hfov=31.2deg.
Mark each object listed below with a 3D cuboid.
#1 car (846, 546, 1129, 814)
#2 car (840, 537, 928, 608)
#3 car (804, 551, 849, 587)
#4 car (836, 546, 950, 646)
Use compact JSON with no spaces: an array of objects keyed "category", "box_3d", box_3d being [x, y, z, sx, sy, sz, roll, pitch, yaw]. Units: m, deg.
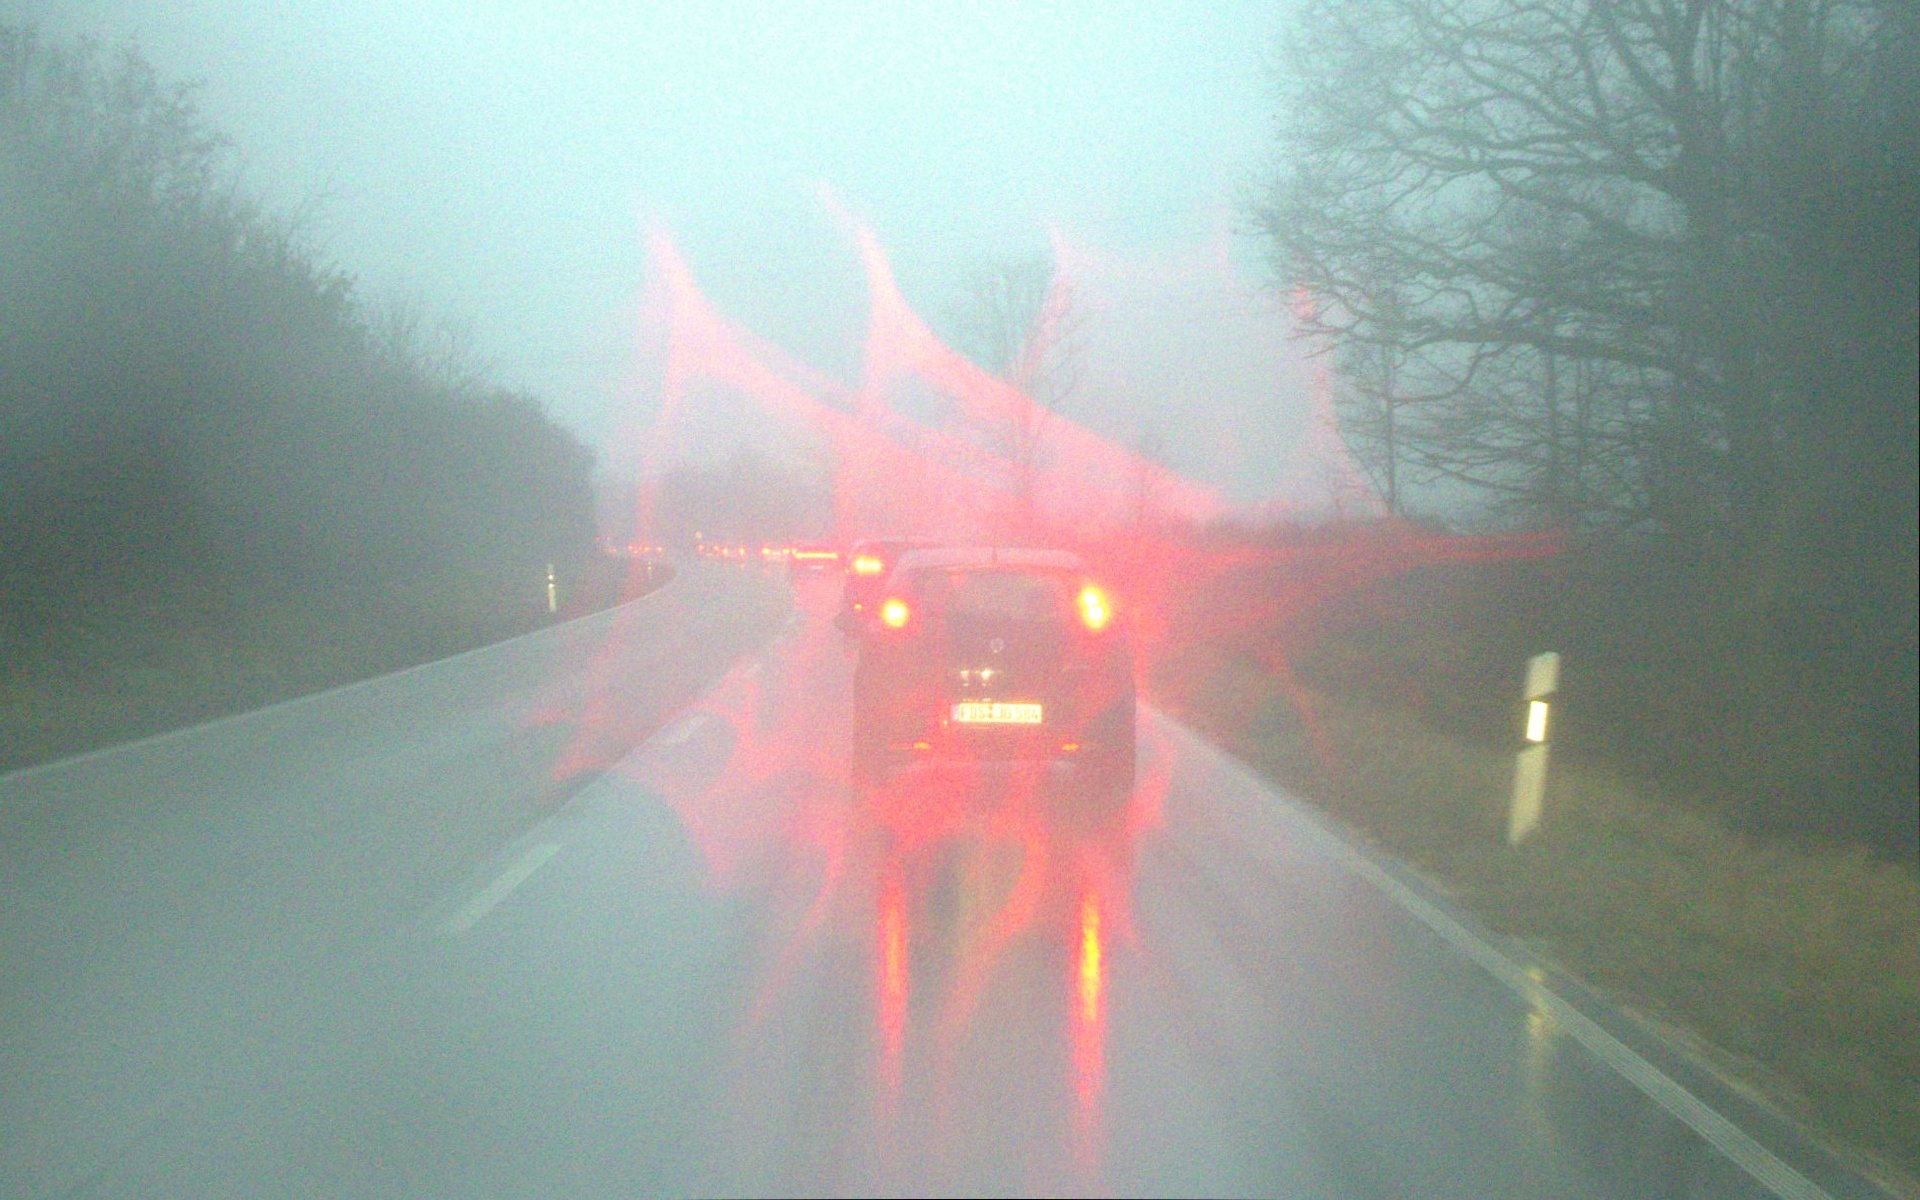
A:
[{"category":"car","box_3d":[0.161,0.428,21.618,1.602,1.517,3.869,1,1,0]},{"category":"car","box_3d":[-1.528,-0.578,70.265,1.547,1.392,3.869,1,1,2]},{"category":"car","box_3d":[-5.385,-1.267,139.071,1.547,1.392,3.869,1,1,1]},{"category":"car","box_3d":[-0.952,-0.083,50.627,1.547,1.392,3.869,1,1,1]}]
